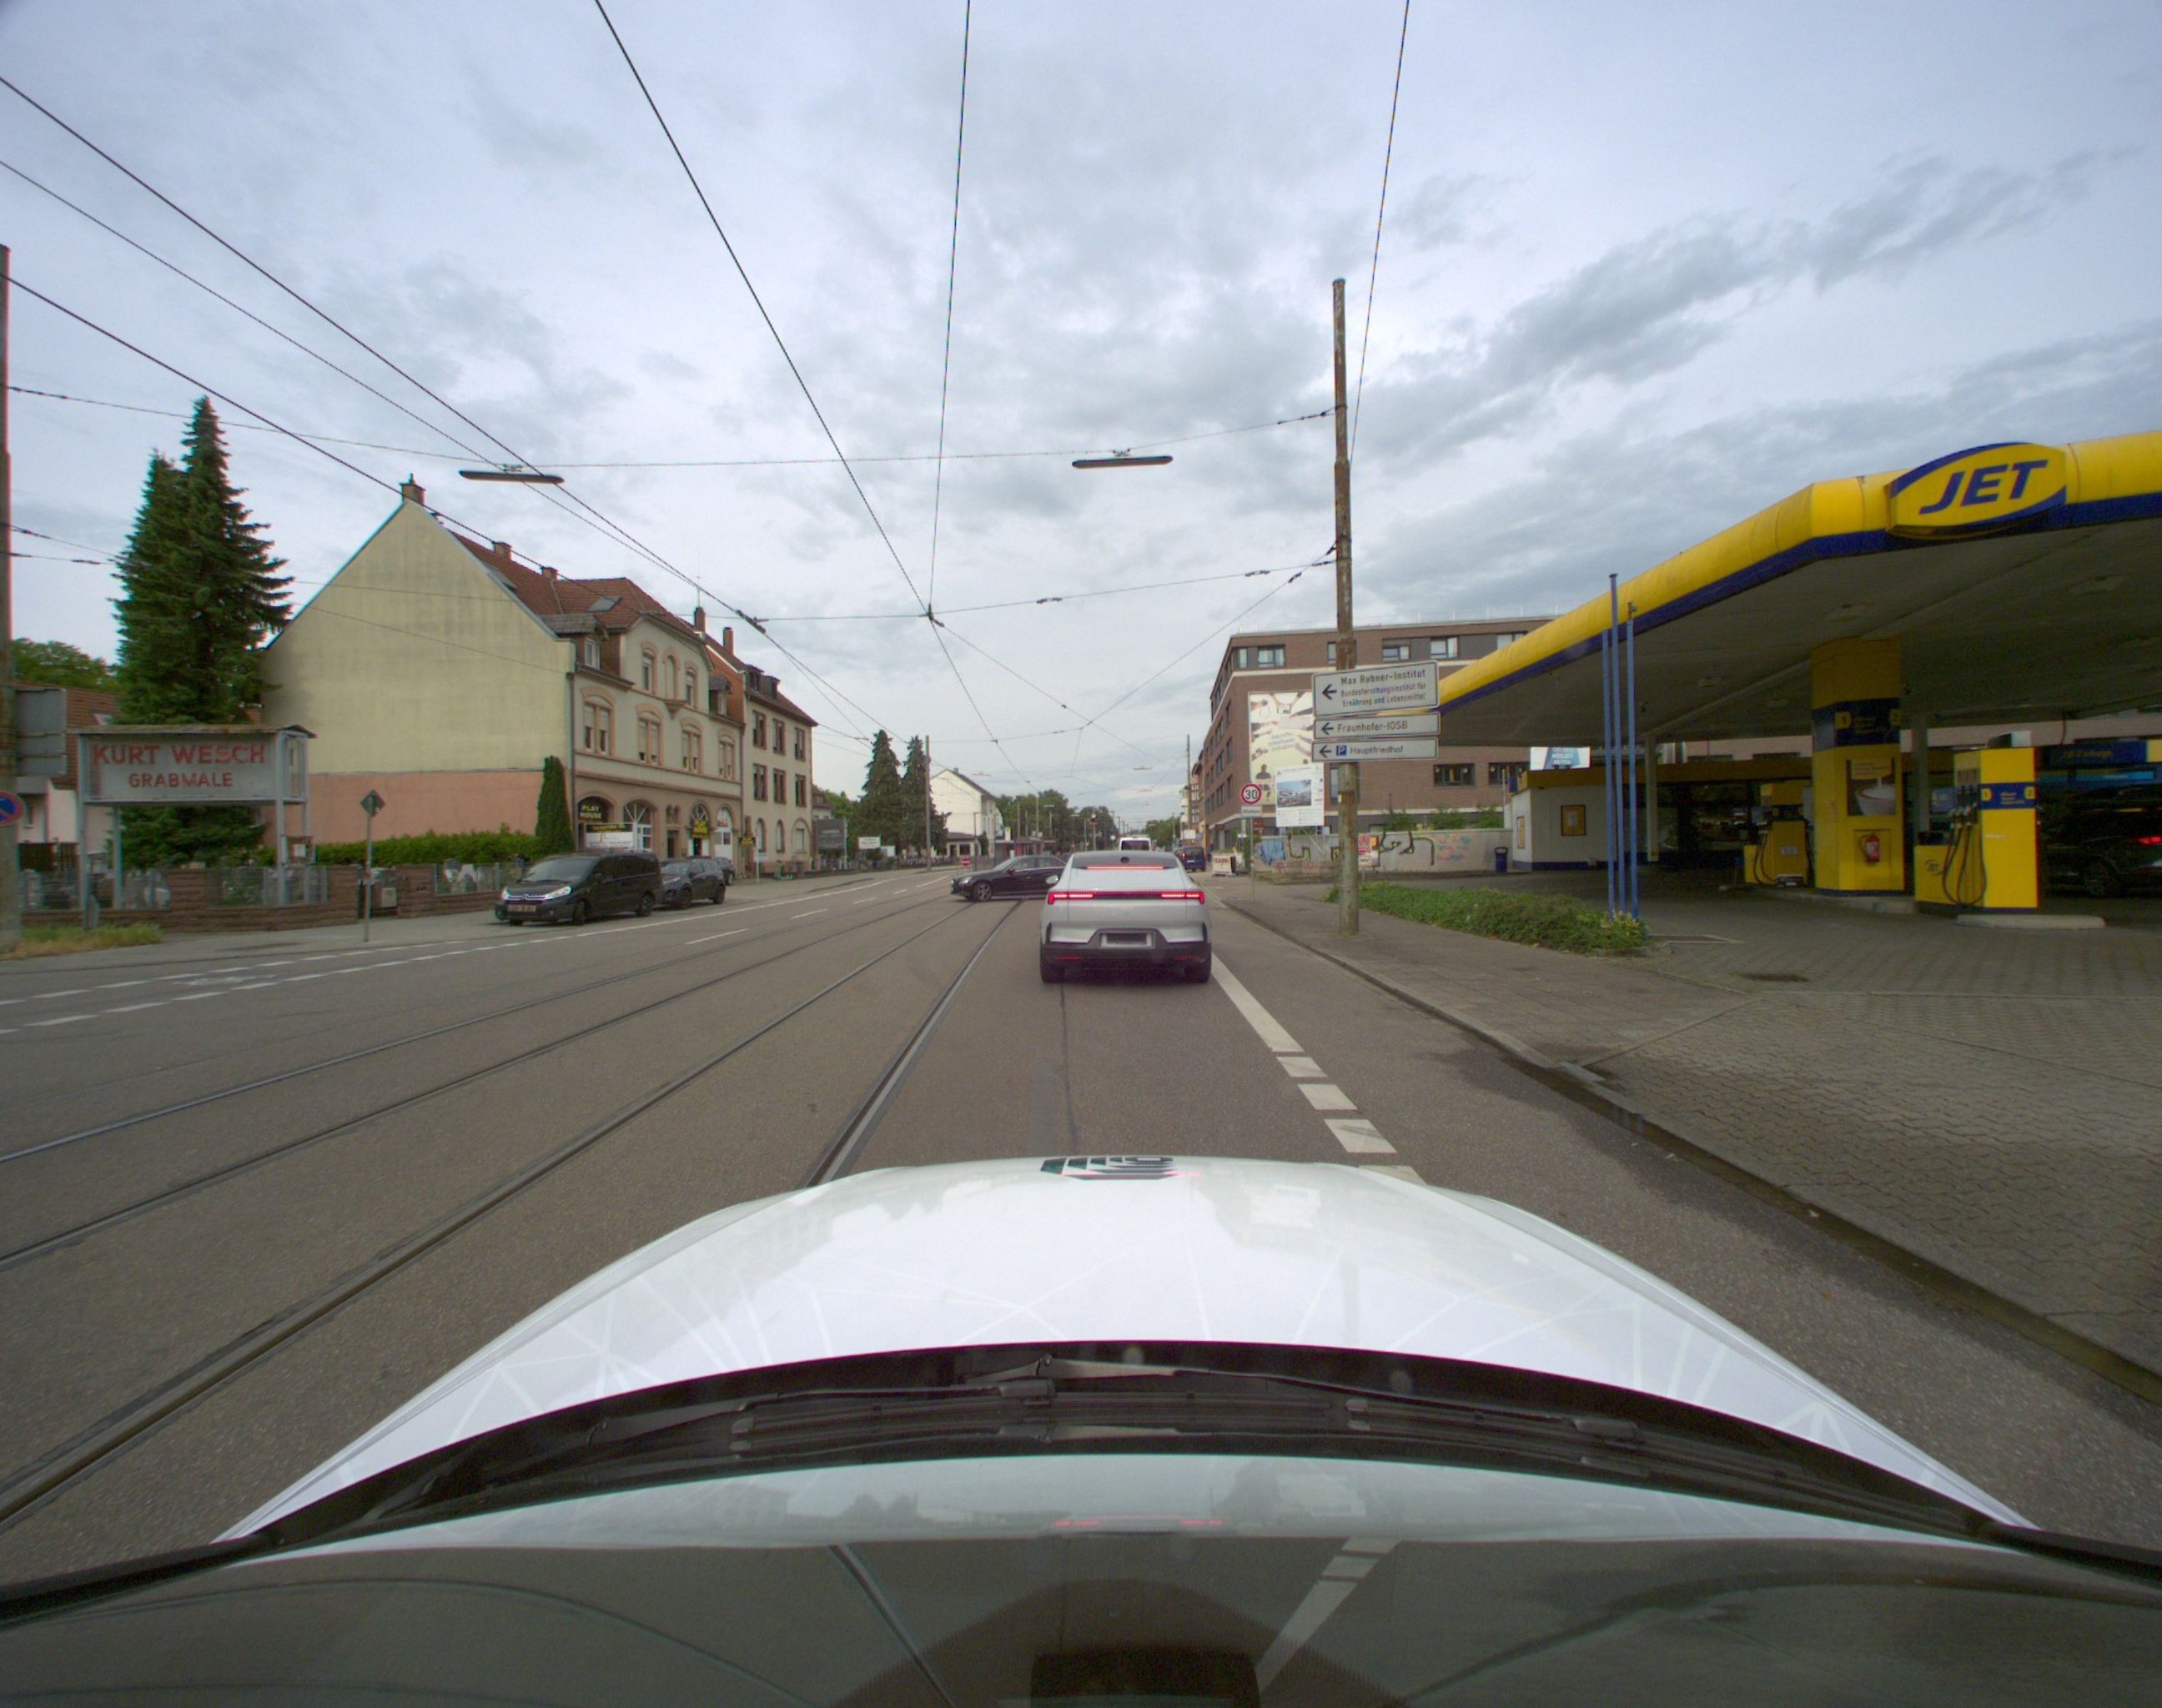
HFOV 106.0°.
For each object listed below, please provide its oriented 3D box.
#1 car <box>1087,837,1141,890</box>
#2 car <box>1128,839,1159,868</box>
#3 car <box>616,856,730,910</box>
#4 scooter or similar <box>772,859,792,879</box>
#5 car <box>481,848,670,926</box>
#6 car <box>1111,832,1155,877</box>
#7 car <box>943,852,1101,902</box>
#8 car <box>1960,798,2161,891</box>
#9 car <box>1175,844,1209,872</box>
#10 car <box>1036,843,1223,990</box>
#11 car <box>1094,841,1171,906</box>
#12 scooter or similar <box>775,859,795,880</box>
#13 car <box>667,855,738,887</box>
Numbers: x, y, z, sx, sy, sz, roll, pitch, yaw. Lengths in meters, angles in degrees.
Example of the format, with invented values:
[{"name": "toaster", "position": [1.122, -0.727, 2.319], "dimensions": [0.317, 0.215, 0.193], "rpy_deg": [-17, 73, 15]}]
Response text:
[{"name": "car", "position": [1.263, 0.363, 32.815], "dimensions": [1.987, 2.014, 3.999], "rpy_deg": [0, -1, 0]}, {"name": "car", "position": [4.838, -0.024, 63.888], "dimensions": [2.132, 2.145, 4.744], "rpy_deg": [0, 0, 1]}, {"name": "car", "position": [-13.889, 0.945, 28.025], "dimensions": [1.839, 1.718, 4.192], "rpy_deg": [0, 0, 0]}, {"name": "scooter or similar", "position": [-17.895, 0.914, 48.704], "dimensions": [1.056, 1.188, 0.315], "rpy_deg": [1, -1, -34]}, {"name": "car", "position": [-13.518, 0.818, 22.258], "dimensions": [1.985, 1.887, 4.998], "rpy_deg": [0, 0, 1]}, {"name": "car", "position": [2.933, 0.031, 46.677], "dimensions": [2.209, 2.423, 4.950], "rpy_deg": [0, 0, 0]}, {"name": "car", "position": [-1.968, 0.702, 26.764], "dimensions": [4.879, 1.427, 1.943], "rpy_deg": [-1, 0, -16]}, {"name": "car", "position": [18.804, -0.138, 14.907], "dimensions": [1.972, 1.497, 4.349], "rpy_deg": [-2, -2, 22]}, {"name": "car", "position": [7.712, 0.283, 56.969], "dimensions": [1.868, 1.823, 4.096], "rpy_deg": [0, 0, 1]}, {"name": "car", "position": [0.448, 0.656, 10.713], "dimensions": [1.977, 1.550, 4.180], "rpy_deg": [0, 0, -2]}, {"name": "car", "position": [1.430, 0.538, 24.026], "dimensions": [1.963, 1.756, 3.836], "rpy_deg": [0, 0, -1]}, {"name": "scooter or similar", "position": [-17.522, 0.910, 48.268], "dimensions": [1.056, 1.188, 0.315], "rpy_deg": [1, -1, -34]}, {"name": "car", "position": [-18.362, 0.805, 39.683], "dimensions": [1.747, 1.500, 3.745], "rpy_deg": [0, 0, -1]}]
